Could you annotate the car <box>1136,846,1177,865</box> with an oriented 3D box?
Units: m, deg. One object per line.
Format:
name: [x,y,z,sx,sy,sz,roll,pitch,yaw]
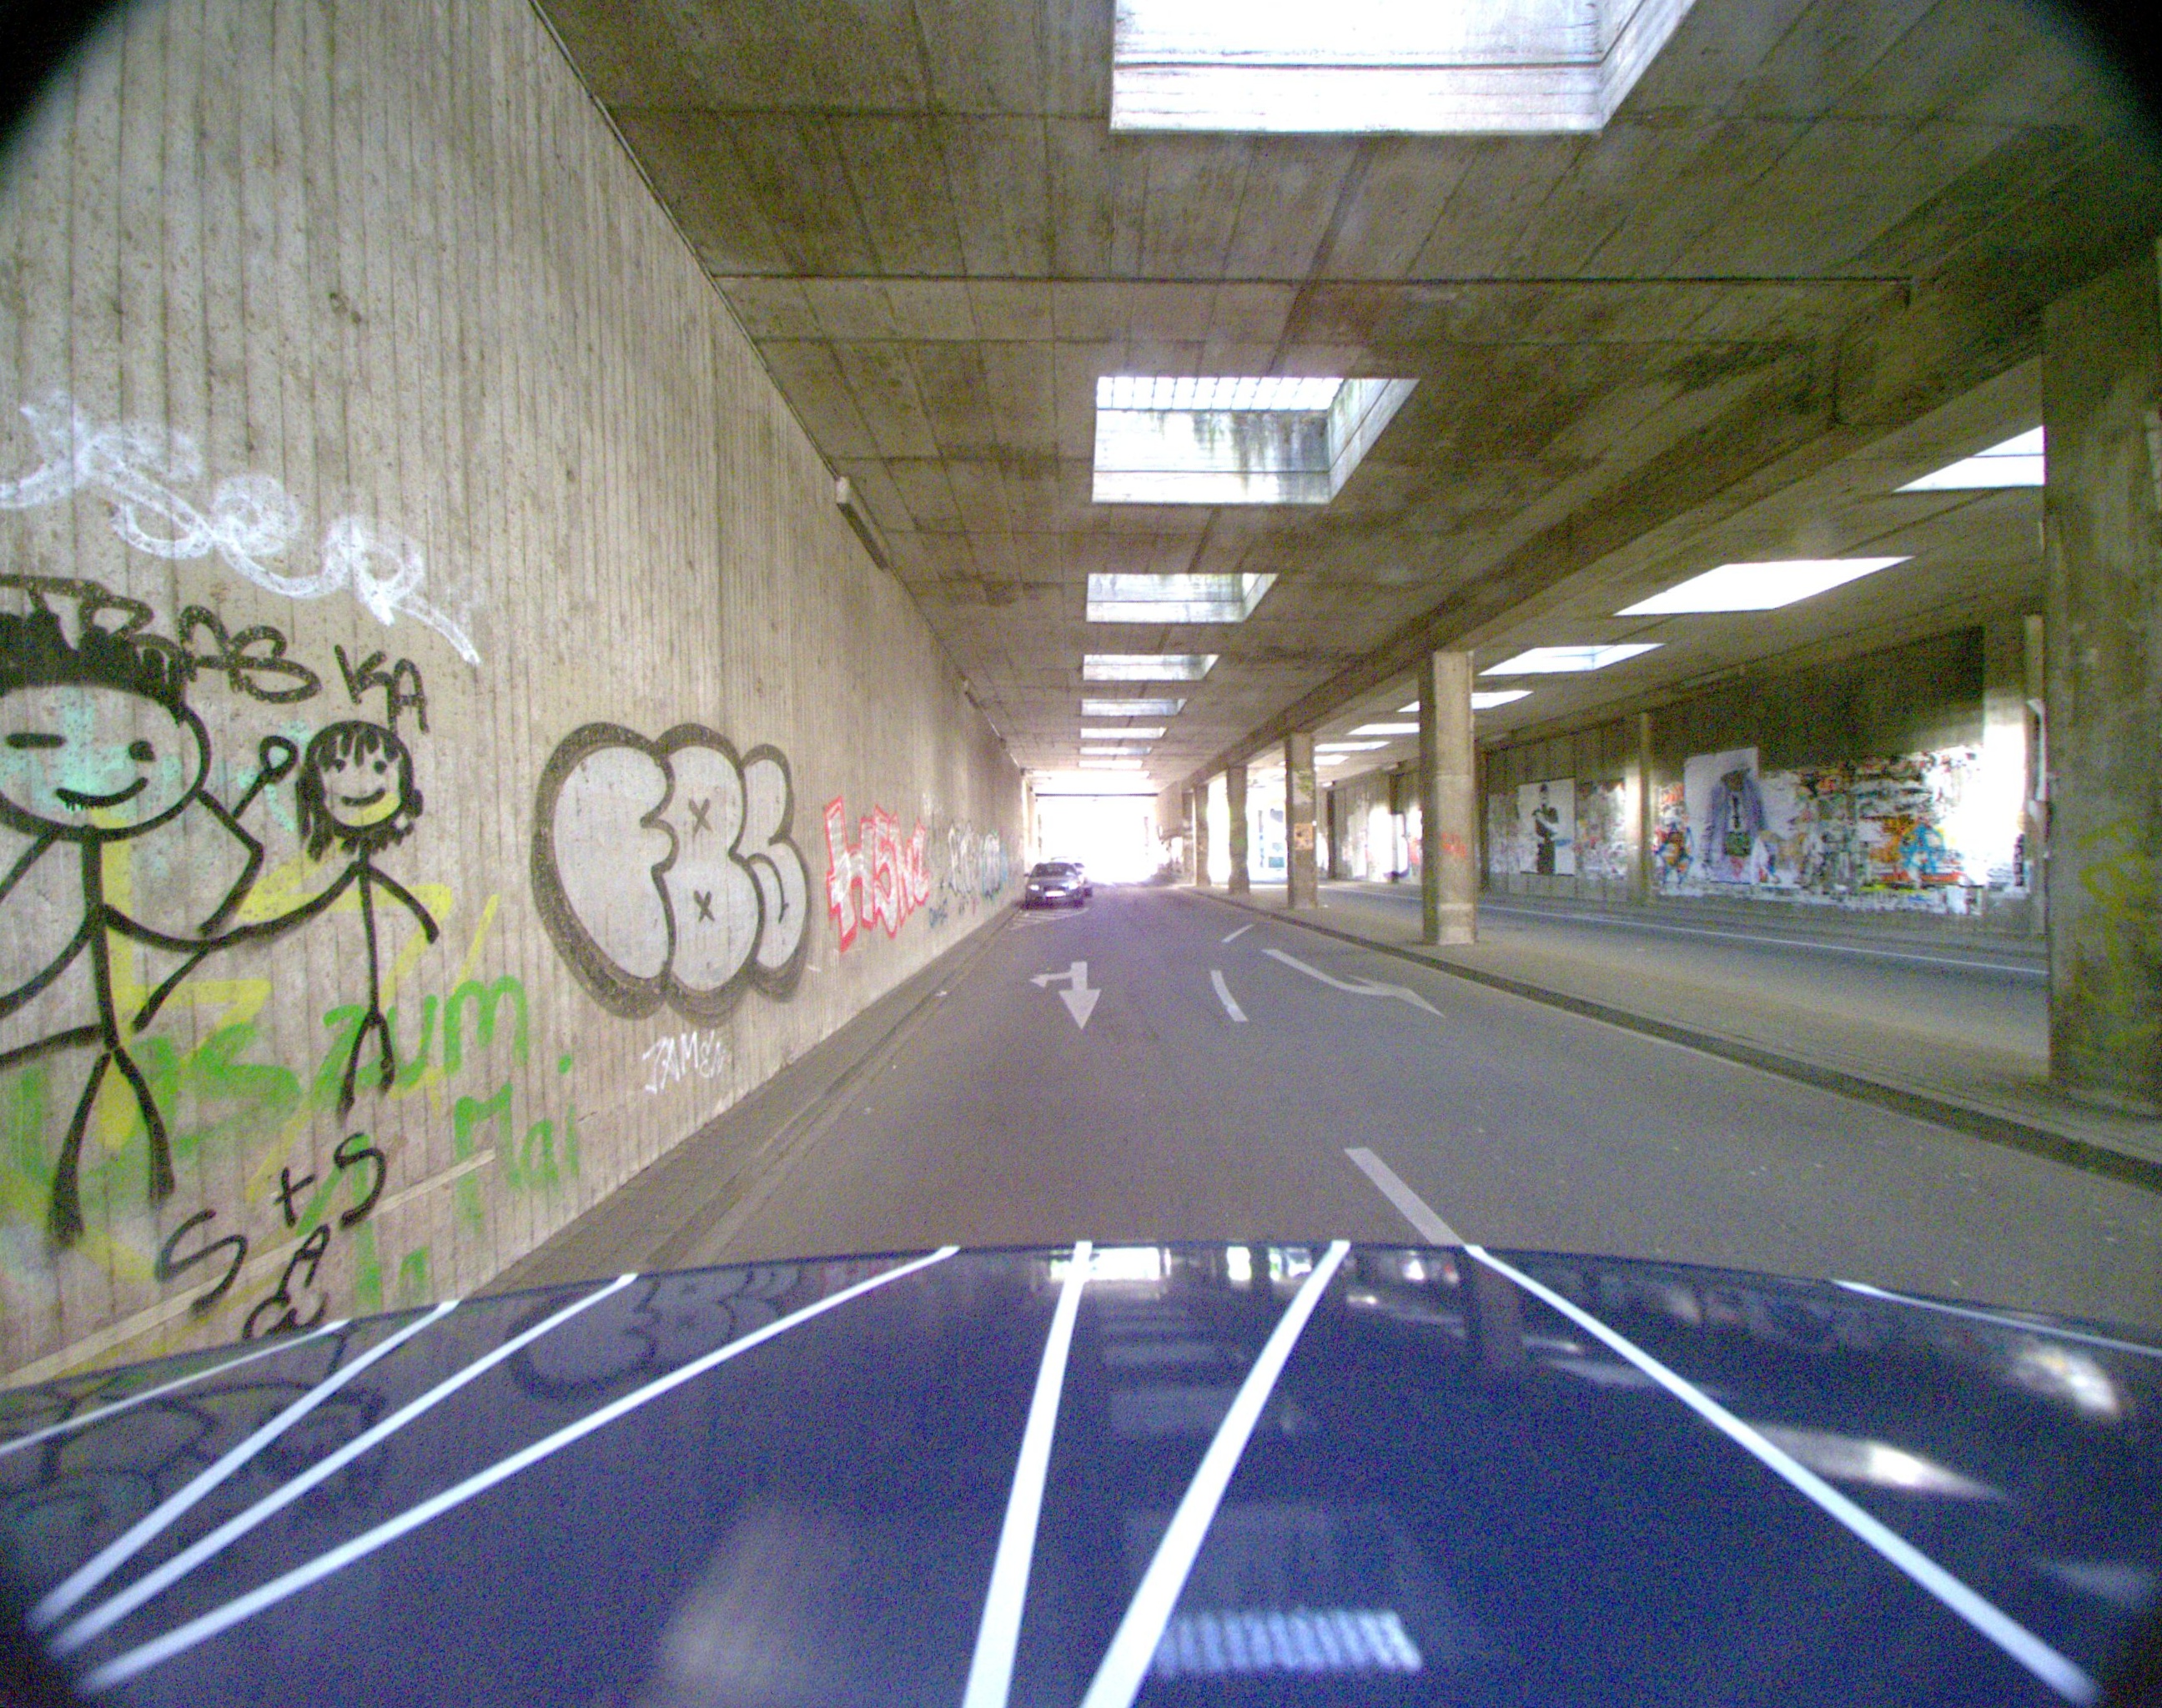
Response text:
car: [7.758,0.153,78.095,3.995,1.740,2.001,-2,1,6]

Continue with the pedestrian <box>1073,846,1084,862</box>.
pedestrian: [-0.324,-0.036,98.403,1.215,2.002,1.489,-2,1,-3]

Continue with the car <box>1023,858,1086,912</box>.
car: [-0.752,0.915,24.036,1.767,1.407,3.999,-2,1,1]

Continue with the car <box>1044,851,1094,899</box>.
car: [-0.494,0.764,29.824,1.767,1.634,3.999,-2,1,-2]
